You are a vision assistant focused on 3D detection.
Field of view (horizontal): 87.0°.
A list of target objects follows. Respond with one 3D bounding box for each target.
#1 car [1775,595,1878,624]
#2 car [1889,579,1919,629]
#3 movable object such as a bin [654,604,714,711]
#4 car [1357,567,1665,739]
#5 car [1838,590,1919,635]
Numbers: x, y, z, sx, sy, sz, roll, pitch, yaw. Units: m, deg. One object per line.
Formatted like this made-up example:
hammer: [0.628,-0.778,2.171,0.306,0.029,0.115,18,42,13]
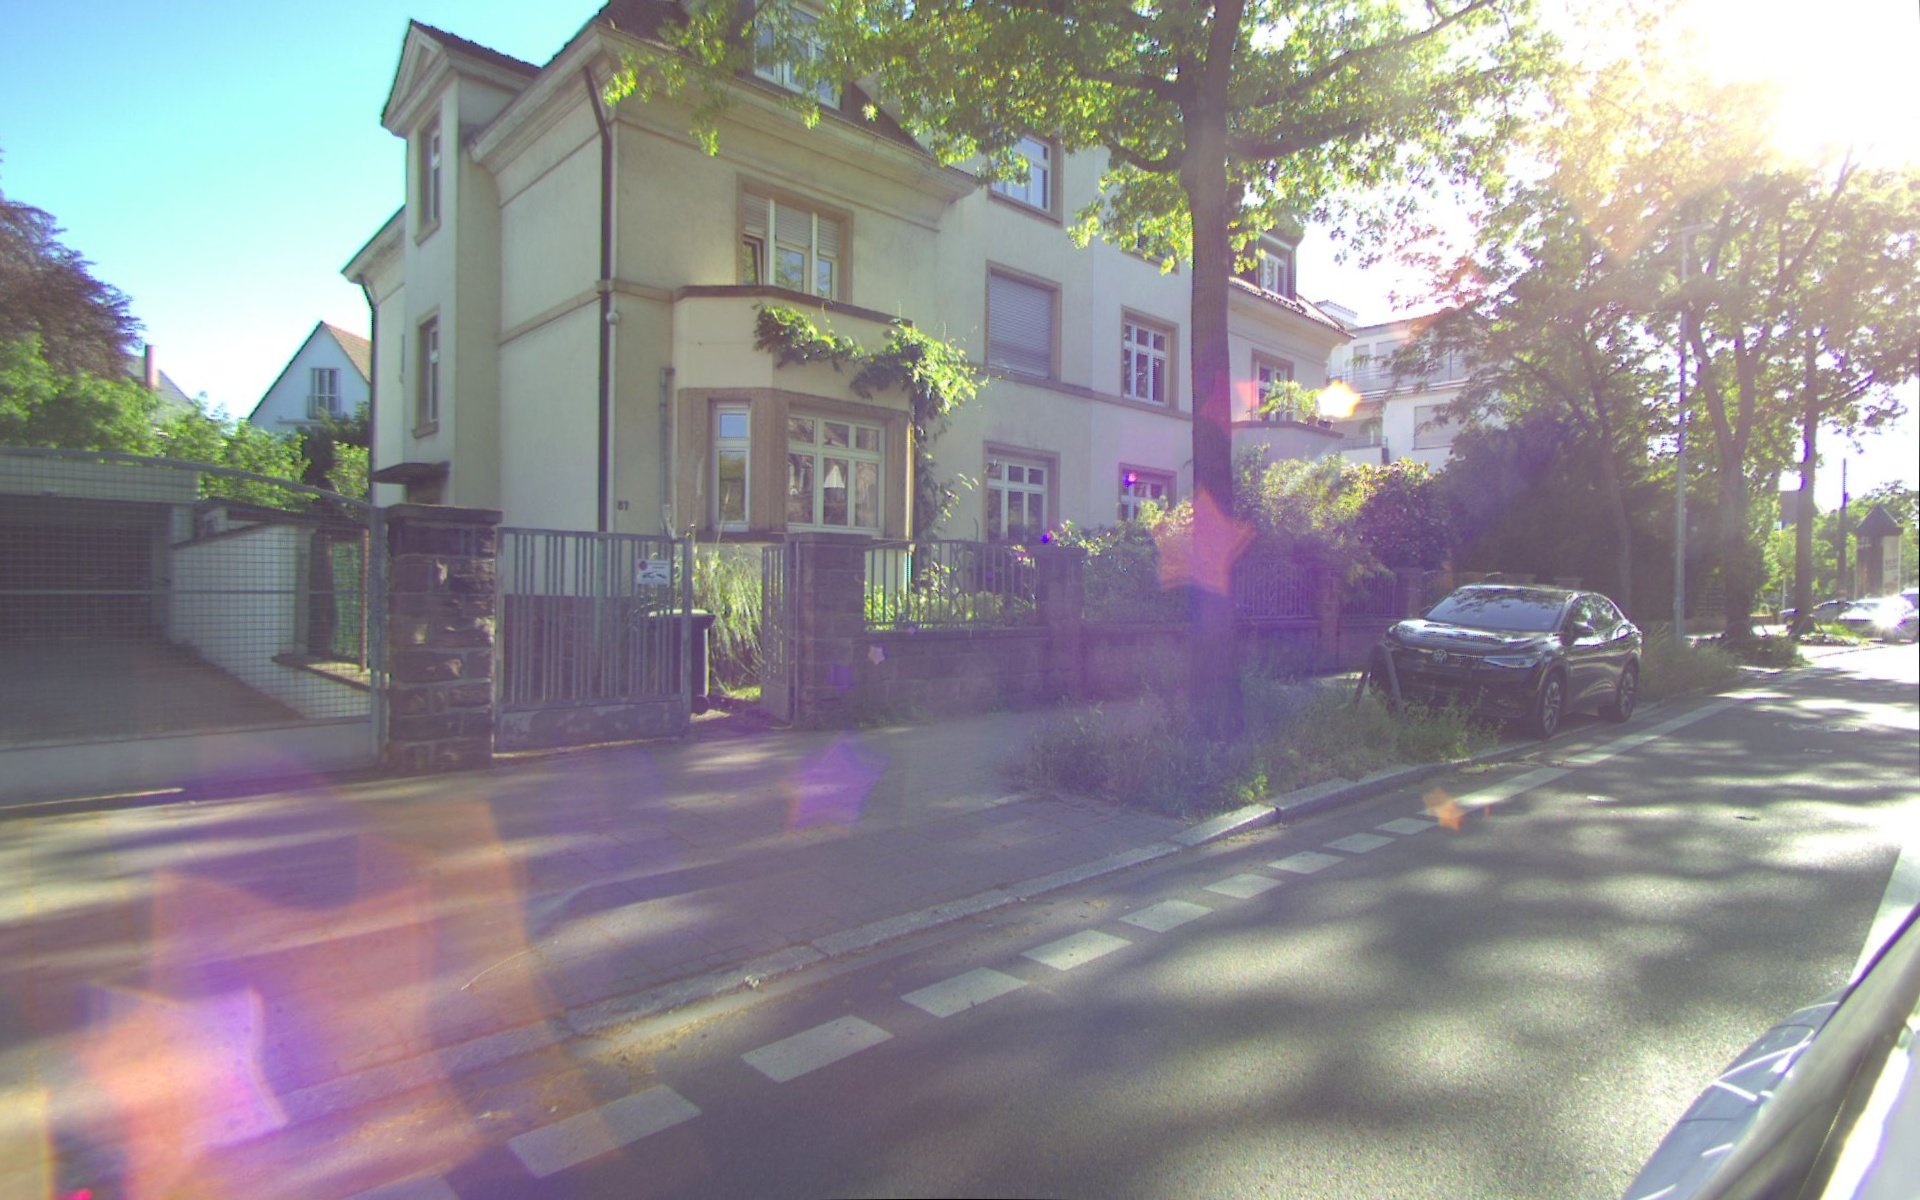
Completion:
car: [46.066,0.464,53.848,1.784,1.459,3.990,0,1,-44]
car: [36.673,0.134,37.863,4.580,1.808,1.903,0,1,-35]
movable object such as a bin: [-2.919,0.585,10.675,0.551,1.062,0.676,0,0,-20]
car: [6.713,0.497,12.141,4.186,1.619,1.917,0,4,-42]
car: [31.513,0.386,34.281,4.181,1.427,1.901,0,1,-38]
